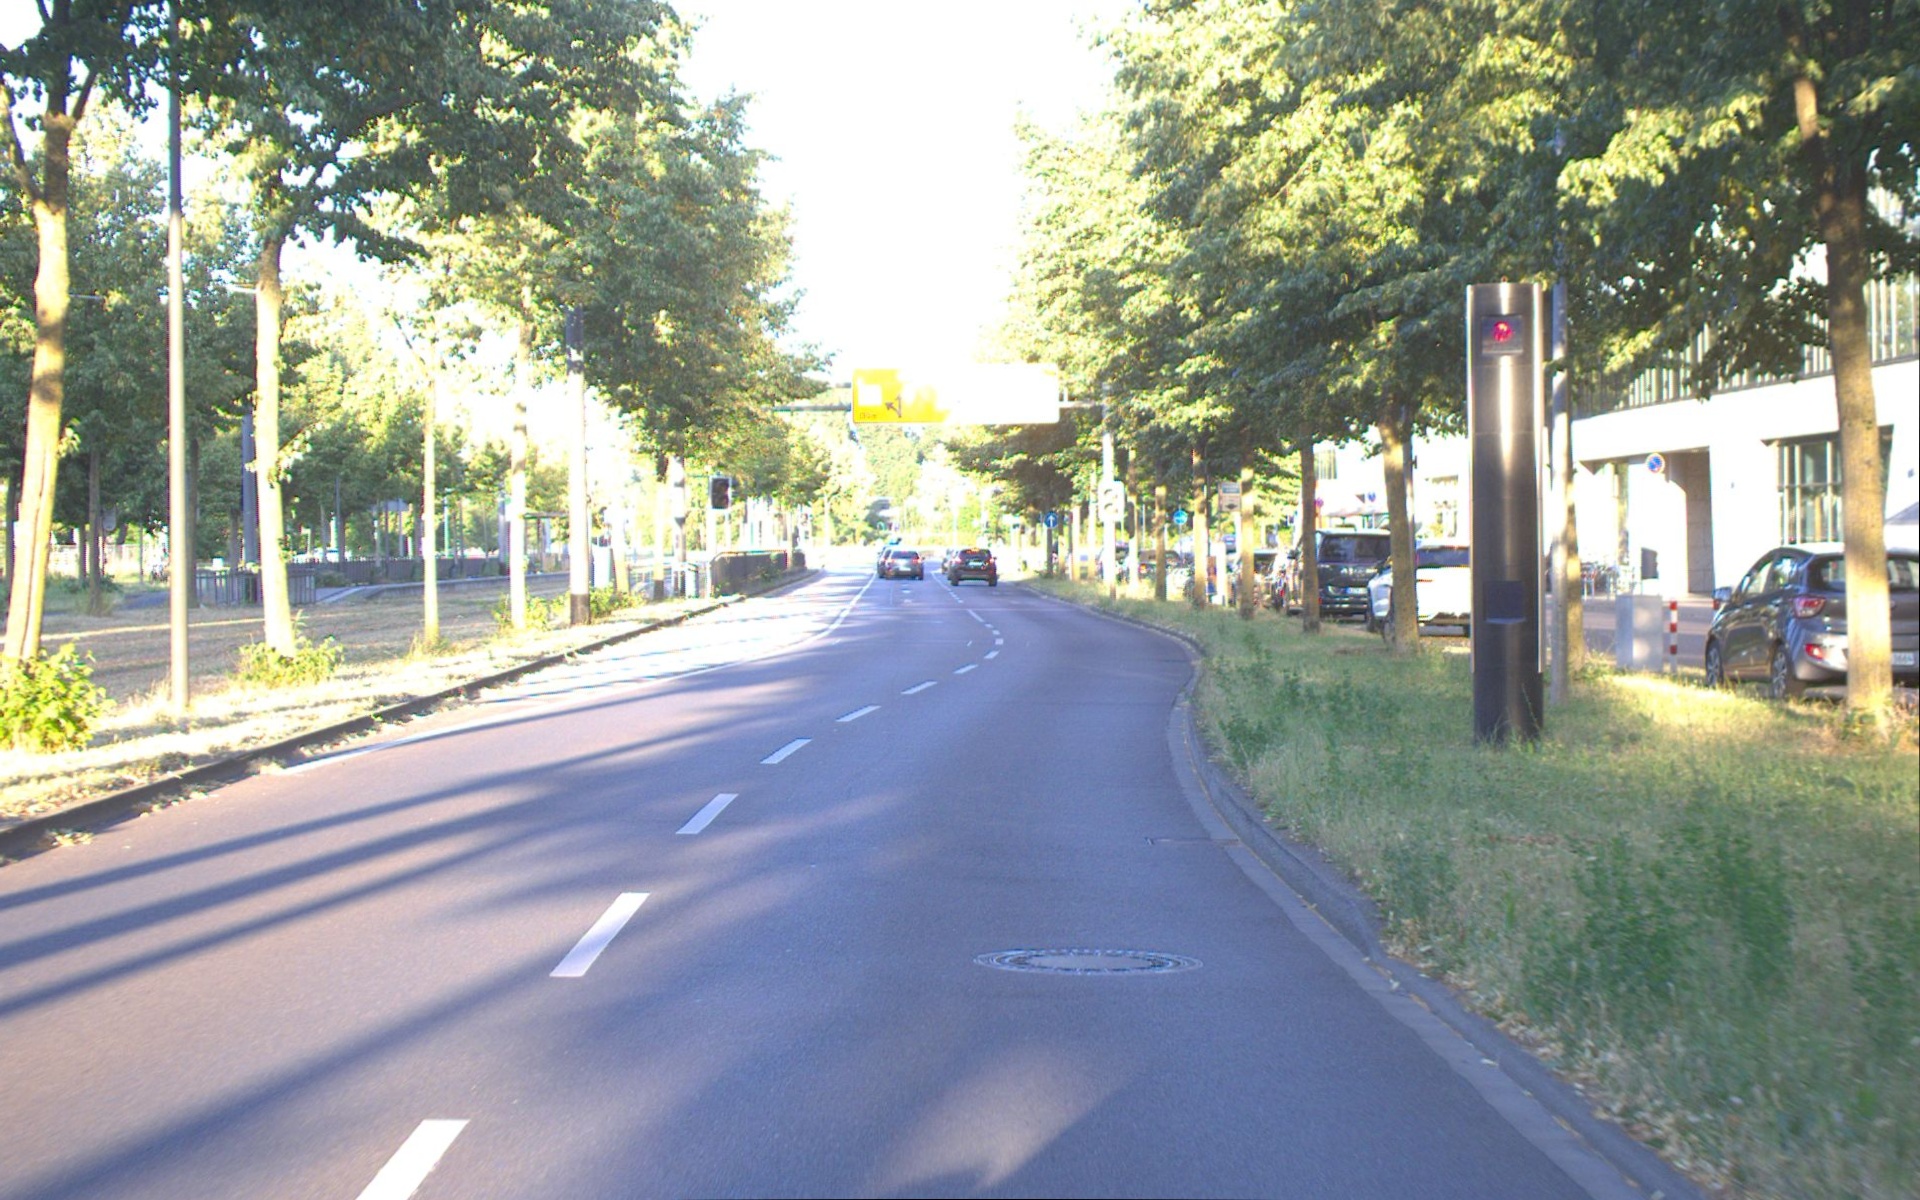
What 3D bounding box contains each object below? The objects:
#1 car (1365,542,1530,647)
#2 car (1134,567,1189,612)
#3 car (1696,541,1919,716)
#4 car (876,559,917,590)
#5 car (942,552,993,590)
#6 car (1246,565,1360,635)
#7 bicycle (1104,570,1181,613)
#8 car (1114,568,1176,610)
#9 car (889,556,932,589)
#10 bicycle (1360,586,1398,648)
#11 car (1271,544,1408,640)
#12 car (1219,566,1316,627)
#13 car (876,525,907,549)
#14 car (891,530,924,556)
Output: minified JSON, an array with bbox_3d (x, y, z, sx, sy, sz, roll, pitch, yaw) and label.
[{"bbox_3d":[7.986,-0.107,56.709,1.993,1.637,4.878,-1,1,0],"label":"car"},{"bbox_3d":[6.732,-0.365,115.249,1.575,1.467,3.881,0,1,0],"label":"car"},{"bbox_3d":[8.186,0.233,32.016,1.709,1.510,3.759,2,1,-2],"label":"car"},{"bbox_3d":[-3.087,-1.248,165.947,1.911,1.481,4.000,-1,1,-2],"label":"car"},{"bbox_3d":[0.285,-1.176,138.823,1.911,1.481,4.000,0,1,-2],"label":"car"},{"bbox_3d":[7.487,-0.021,75.389,1.809,1.466,4.666,-1,1,-3],"label":"car"},{"bbox_3d":[4.905,-0.232,92.224,1.941,1.050,0.545,3,0,-15],"label":"bicycle"},{"bbox_3d":[6.542,-0.405,122.008,1.777,1.467,4.289,0,1,-3],"label":"car"},{"bbox_3d":[-2.296,-1.278,159.035,1.911,1.481,4.000,-1,1,-2],"label":"car"},{"bbox_3d":[5.668,0.223,46.556,0.315,0.820,1.552,-1,1,0],"label":"bicycle"},{"bbox_3d":[7.585,-0.176,69.108,1.993,1.845,4.666,-1,1,-3],"label":"car"},{"bbox_3d":[7.307,-0.101,82.121,1.869,1.406,4.646,-1,1,0],"label":"car"},{"bbox_3d":[-4.317,-4.001,217.540,1.911,1.481,4.000,-1,1,-2],"label":"car"},{"bbox_3d":[-3.100,-3.365,202.086,1.911,1.481,4.000,-1,1,-2],"label":"car"}]
